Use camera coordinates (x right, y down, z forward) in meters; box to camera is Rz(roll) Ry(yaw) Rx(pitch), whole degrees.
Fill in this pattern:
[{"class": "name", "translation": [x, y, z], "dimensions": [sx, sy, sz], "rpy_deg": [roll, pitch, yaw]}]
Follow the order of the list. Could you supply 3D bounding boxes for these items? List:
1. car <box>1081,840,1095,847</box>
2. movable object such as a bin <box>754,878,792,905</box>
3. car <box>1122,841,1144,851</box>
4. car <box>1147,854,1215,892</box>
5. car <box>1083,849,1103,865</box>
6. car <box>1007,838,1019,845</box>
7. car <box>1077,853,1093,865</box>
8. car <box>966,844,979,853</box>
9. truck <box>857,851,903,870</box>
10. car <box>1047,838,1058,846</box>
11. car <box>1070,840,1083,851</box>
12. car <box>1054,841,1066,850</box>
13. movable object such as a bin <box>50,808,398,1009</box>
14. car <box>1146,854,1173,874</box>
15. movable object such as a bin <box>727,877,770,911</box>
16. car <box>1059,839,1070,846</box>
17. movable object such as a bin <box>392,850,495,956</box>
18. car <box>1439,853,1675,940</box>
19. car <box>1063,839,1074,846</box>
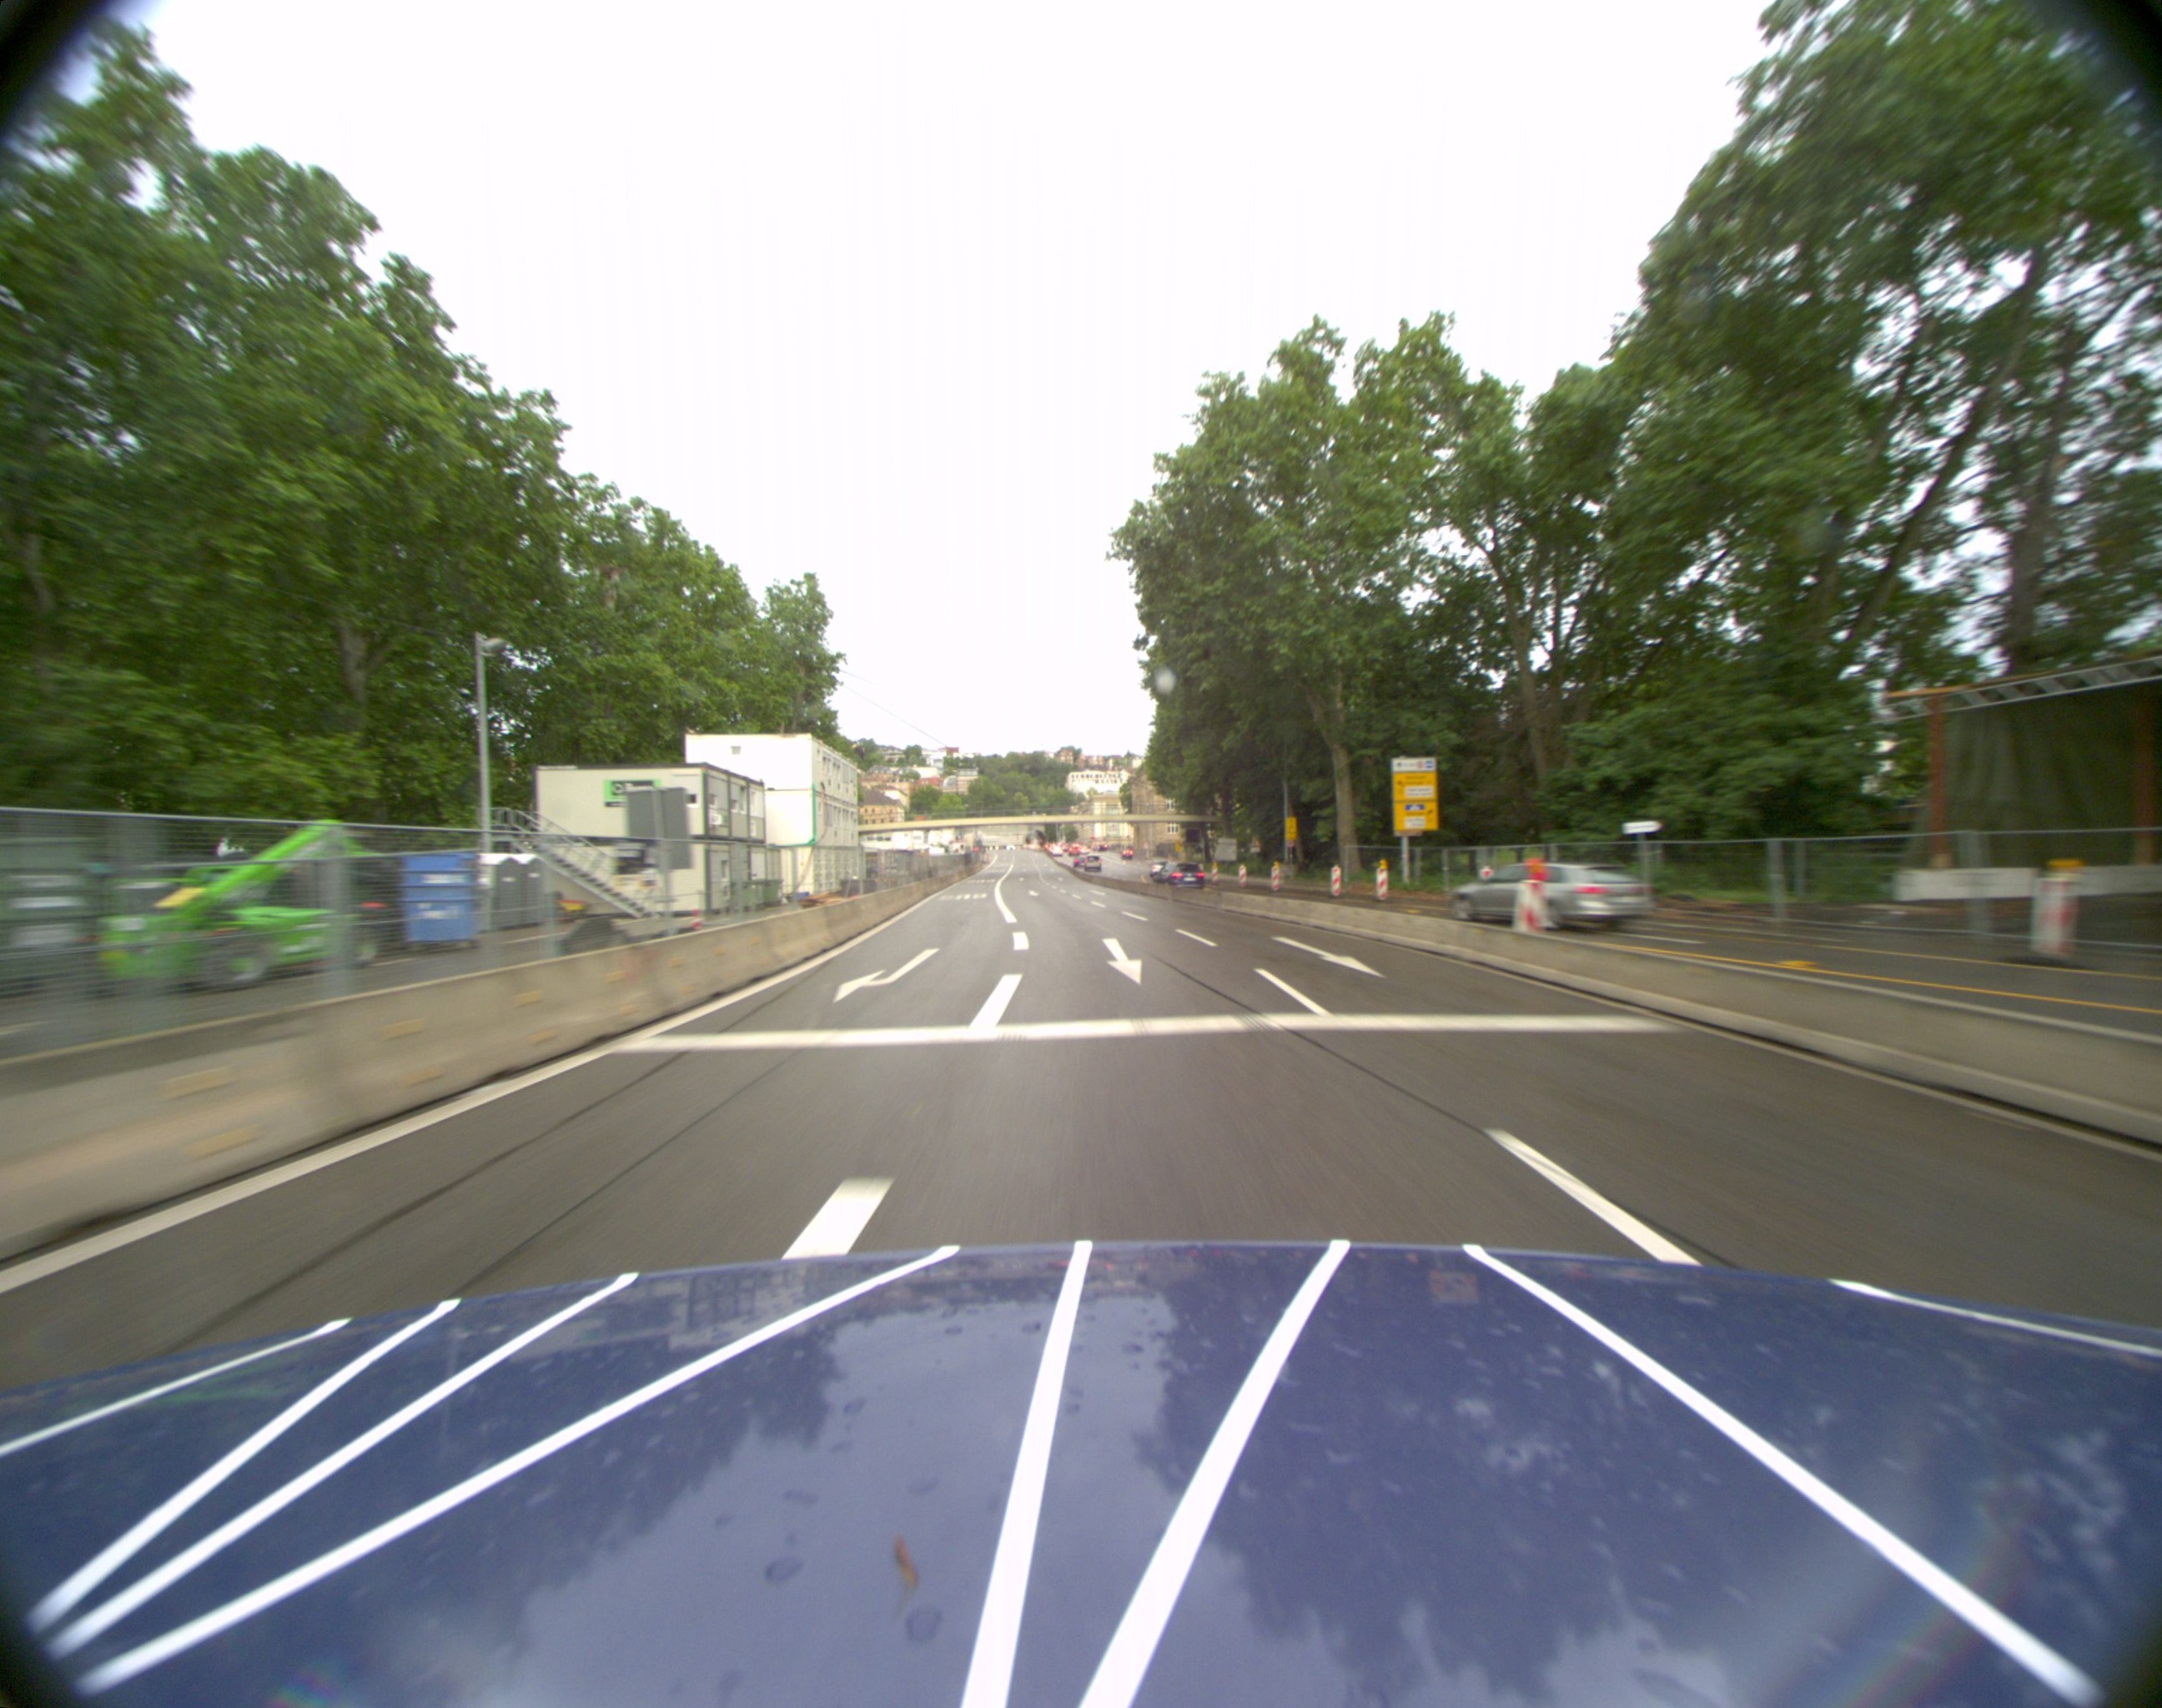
[{"class": "car", "translation": [1.458, -2.142, 157.177], "dimensions": [2.000, 1.375, 4.206], "rpy_deg": [0, 2, -10]}, {"class": "movable object such as a bin", "translation": [-13.673, 1.660, 33.805], "dimensions": [1.250, 1.117, 1.238], "rpy_deg": [0, 3, -6]}, {"class": "car", "translation": [9.069, -1.427, 132.103], "dimensions": [2.032, 1.643, 4.327], "rpy_deg": [-1, 0, 33]}, {"class": "car", "translation": [4.732, 0.869, 36.790], "dimensions": [2.000, 1.532, 4.574], "rpy_deg": [0, 2, -10]}, {"class": "car", "translation": [1.261, 0.296, 83.884], "dimensions": [2.036, 1.644, 4.909], "rpy_deg": [0, 1, -1]}, {"class": "car", "translation": [-18.582, -3.407, 207.295], "dimensions": [2.003, 1.562, 3.990], "rpy_deg": [-1, 3, -26]}, {"class": "car", "translation": [0.459, 0.651, 93.657], "dimensions": [1.716, 1.331, 4.061], "rpy_deg": [3, 0, -1]}, {"class": "car", "translation": [-19.939, -0.958, 139.701], "dimensions": [1.837, 1.433, 4.410], "rpy_deg": [-3, 2, -1]}, {"class": "truck", "translation": [-24.405, 0.739, 92.257], "dimensions": [5.171, 2.003, 2.406], "rpy_deg": [-2, 3, -11]}, {"class": "car", "translation": [-6.611, -2.737, 173.593], "dimensions": [2.000, 1.559, 5.376], "rpy_deg": [0, 2, -7]}, {"class": "car", "translation": [-0.851, -1.713, 148.429], "dimensions": [2.037, 1.926, 5.039], "rpy_deg": [0, 2, -6]}, {"class": "car", "translation": [-4.154, -1.725, 146.938], "dimensions": [1.899, 1.559, 4.893], "rpy_deg": [0, 2, -6]}, {"class": "movable object such as a bin", "translation": [-13.915, 0.801, 12.758], "dimensions": [1.813, 2.793, 3.863], "rpy_deg": [-2, -1, -10]}, {"class": "car", "translation": [6.828, 0.858, 66.383], "dimensions": [1.874, 1.532, 4.088], "rpy_deg": [0, 2, -1]}, {"class": "movable object such as a bin", "translation": [-13.357, 1.601, 30.612], "dimensions": [1.250, 1.230, 1.238], "rpy_deg": [0, 3, -6]}, {"class": "car", "translation": [-3.837, -2.656, 178.370], "dimensions": [2.000, 1.547, 4.206], "rpy_deg": [0, 2, -10]}, {"class": "movable object such as a bin", "translation": [-14.092, 1.054, 16.867], "dimensions": [1.463, 2.190, 1.262], "rpy_deg": [-2, -1, -29]}, {"class": "car", "translation": [10.457, 0.832, 17.189], "dimensions": [2.000, 1.532, 4.439], "rpy_deg": [0, 2, -10]}, {"class": "car", "translation": [-2.821, -2.545, 171.773], "dimensions": [2.000, 1.375, 4.207], "rpy_deg": [0, 2, -9]}]
